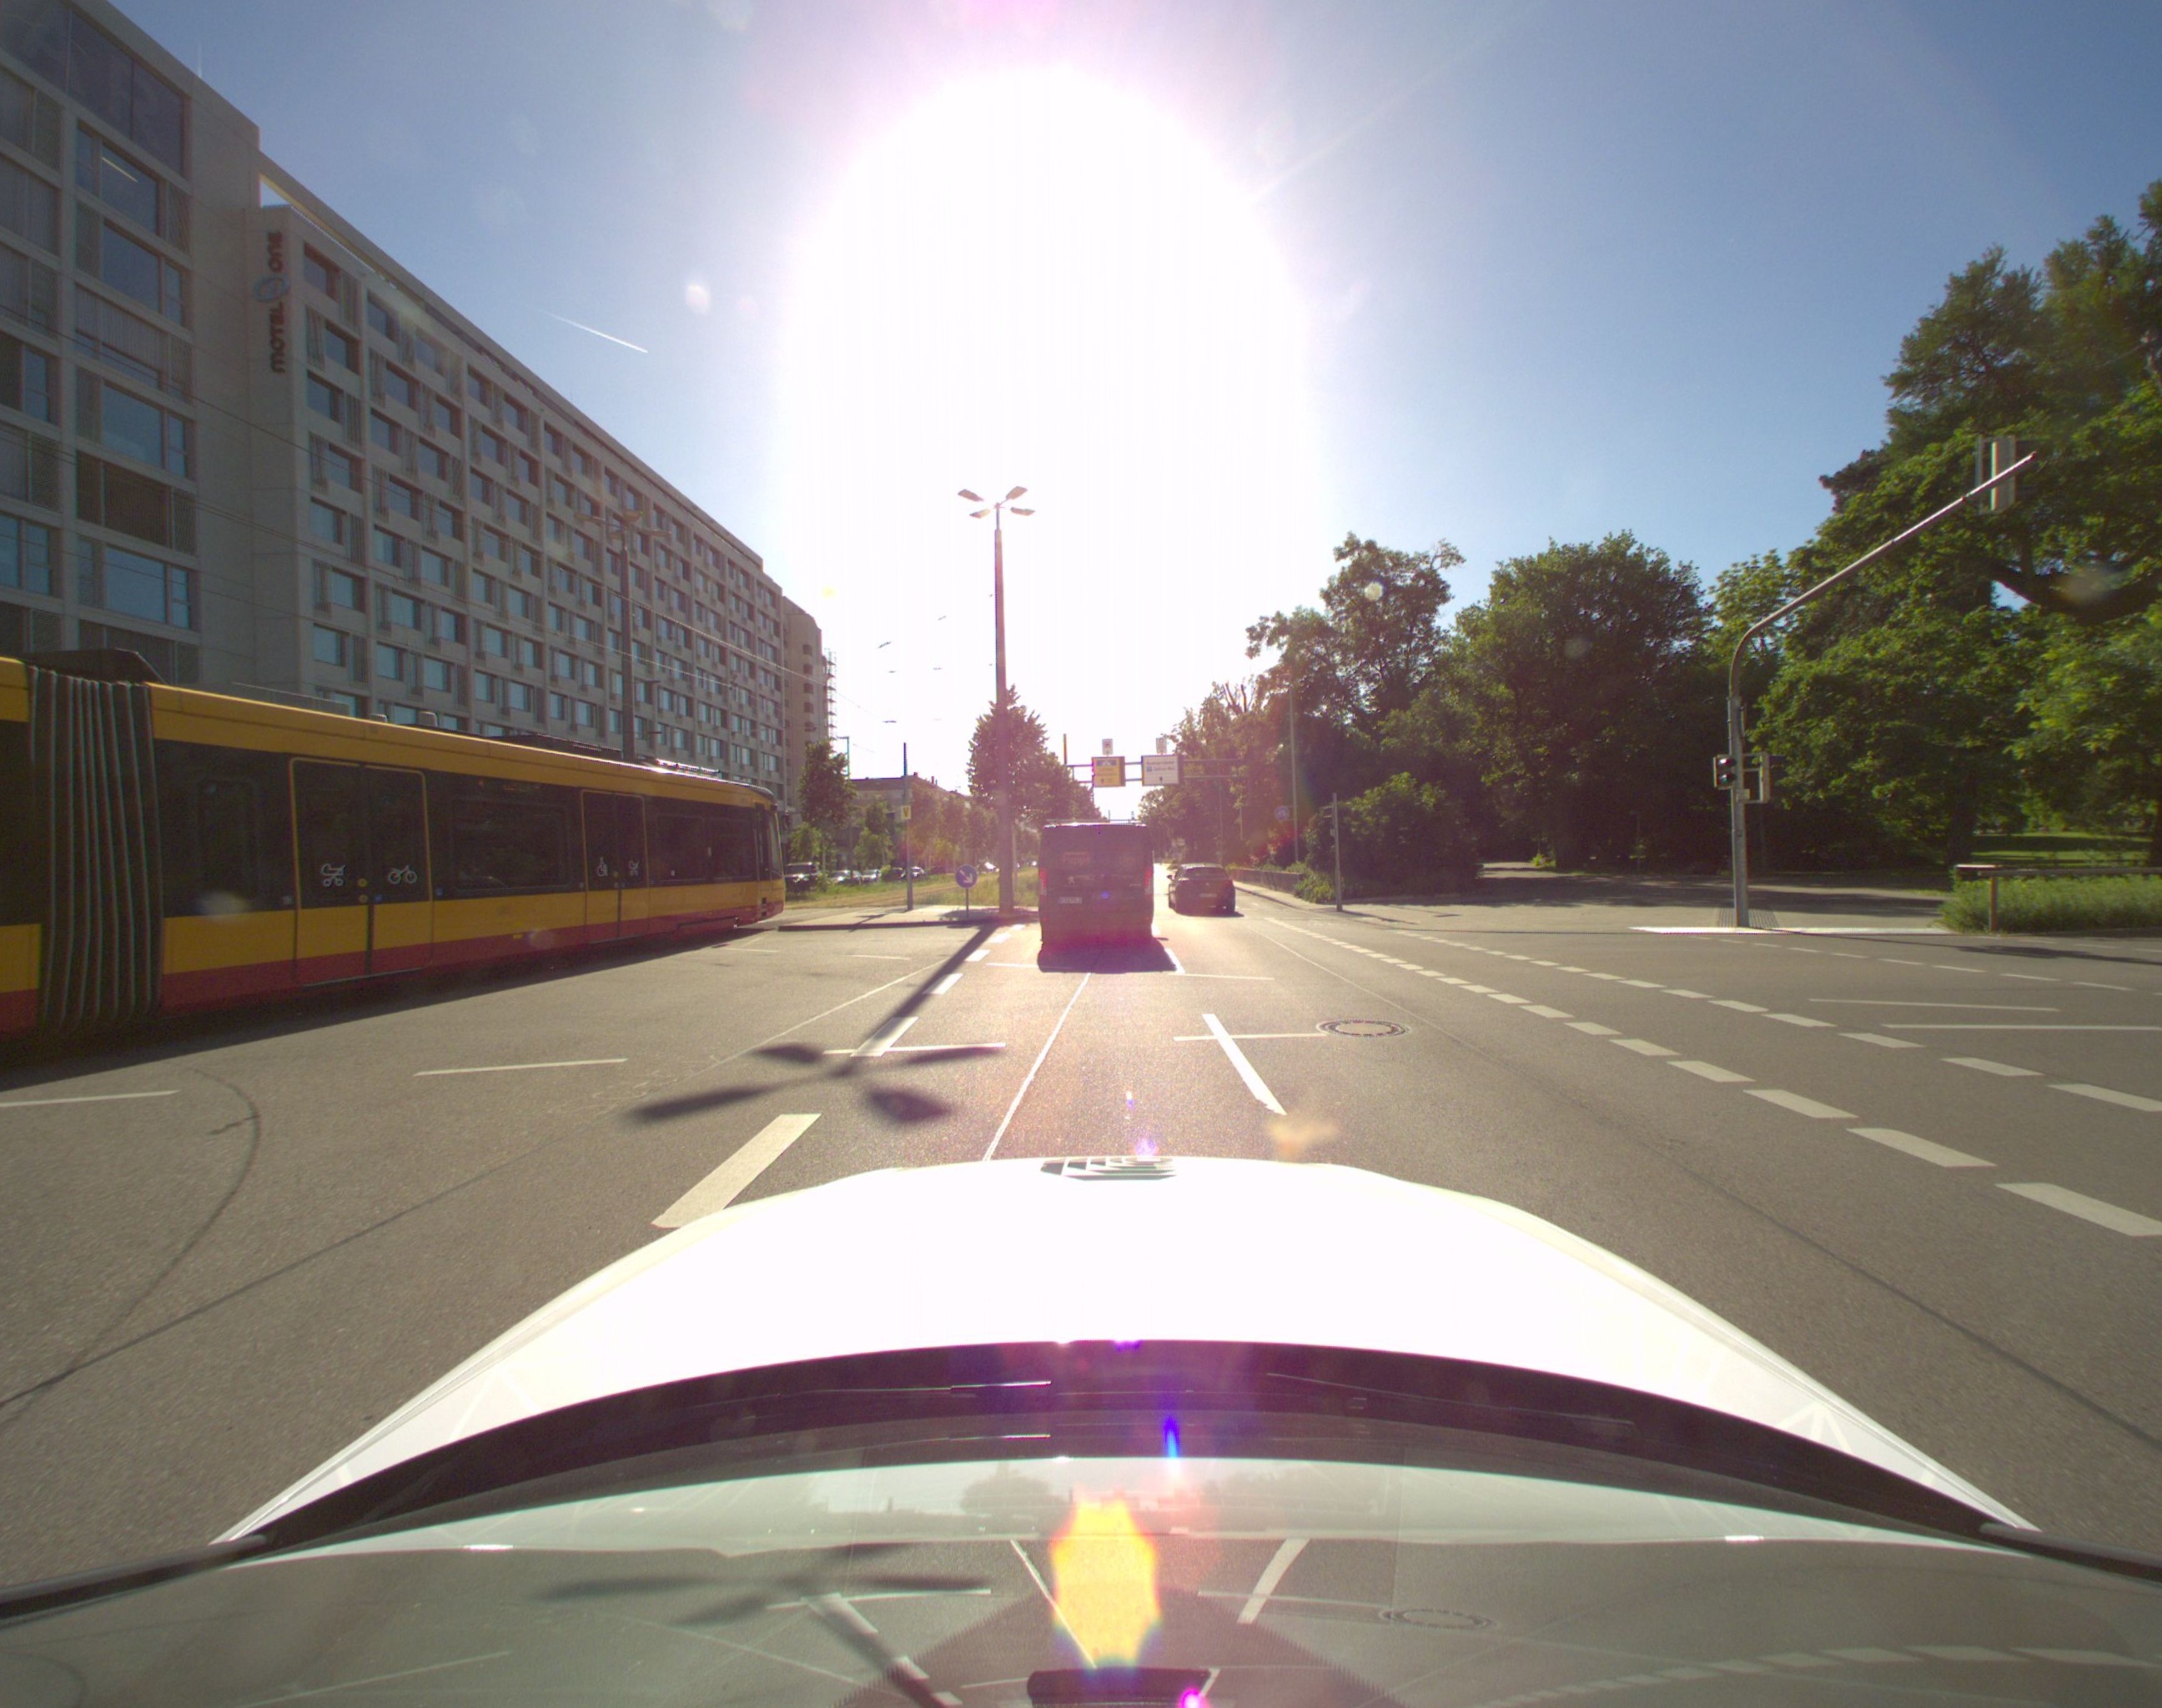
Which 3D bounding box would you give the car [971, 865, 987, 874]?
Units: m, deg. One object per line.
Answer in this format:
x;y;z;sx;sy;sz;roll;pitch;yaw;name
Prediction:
-18.118;2.668;144.624;1.984;1.552;4.004;-1;-1;4;car

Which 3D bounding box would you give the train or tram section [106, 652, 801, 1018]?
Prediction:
-8.389;-0.138;14.067;1.984;3.669;11.701;-1;-1;6;train or tram section

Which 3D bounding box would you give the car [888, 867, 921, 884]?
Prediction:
-17.090;2.055;78.872;1.984;1.552;4.005;-1;-1;5;car

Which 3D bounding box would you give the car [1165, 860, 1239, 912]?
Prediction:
3.616;0.918;24.997;1.757;1.462;4.001;-1;-1;1;car

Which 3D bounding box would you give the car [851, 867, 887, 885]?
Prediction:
-19.830;2.063;76.225;1.984;1.552;4.005;-1;-1;5;car

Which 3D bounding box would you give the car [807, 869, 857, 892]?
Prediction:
-17.728;1.856;58.155;1.984;1.552;4.005;-1;-1;5;car

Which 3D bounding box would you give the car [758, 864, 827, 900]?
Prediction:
-15.543;1.485;44.134;1.985;1.819;4.290;-1;-1;4;car

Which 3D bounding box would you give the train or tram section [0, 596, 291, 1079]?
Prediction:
-9.564;-0.146;2.696;1.984;3.669;11.333;-1;-1;6;train or tram section

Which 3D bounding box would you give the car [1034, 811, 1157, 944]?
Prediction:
0.342;0.422;15.930;2.074;2.249;4.002;-1;-1;3;car
